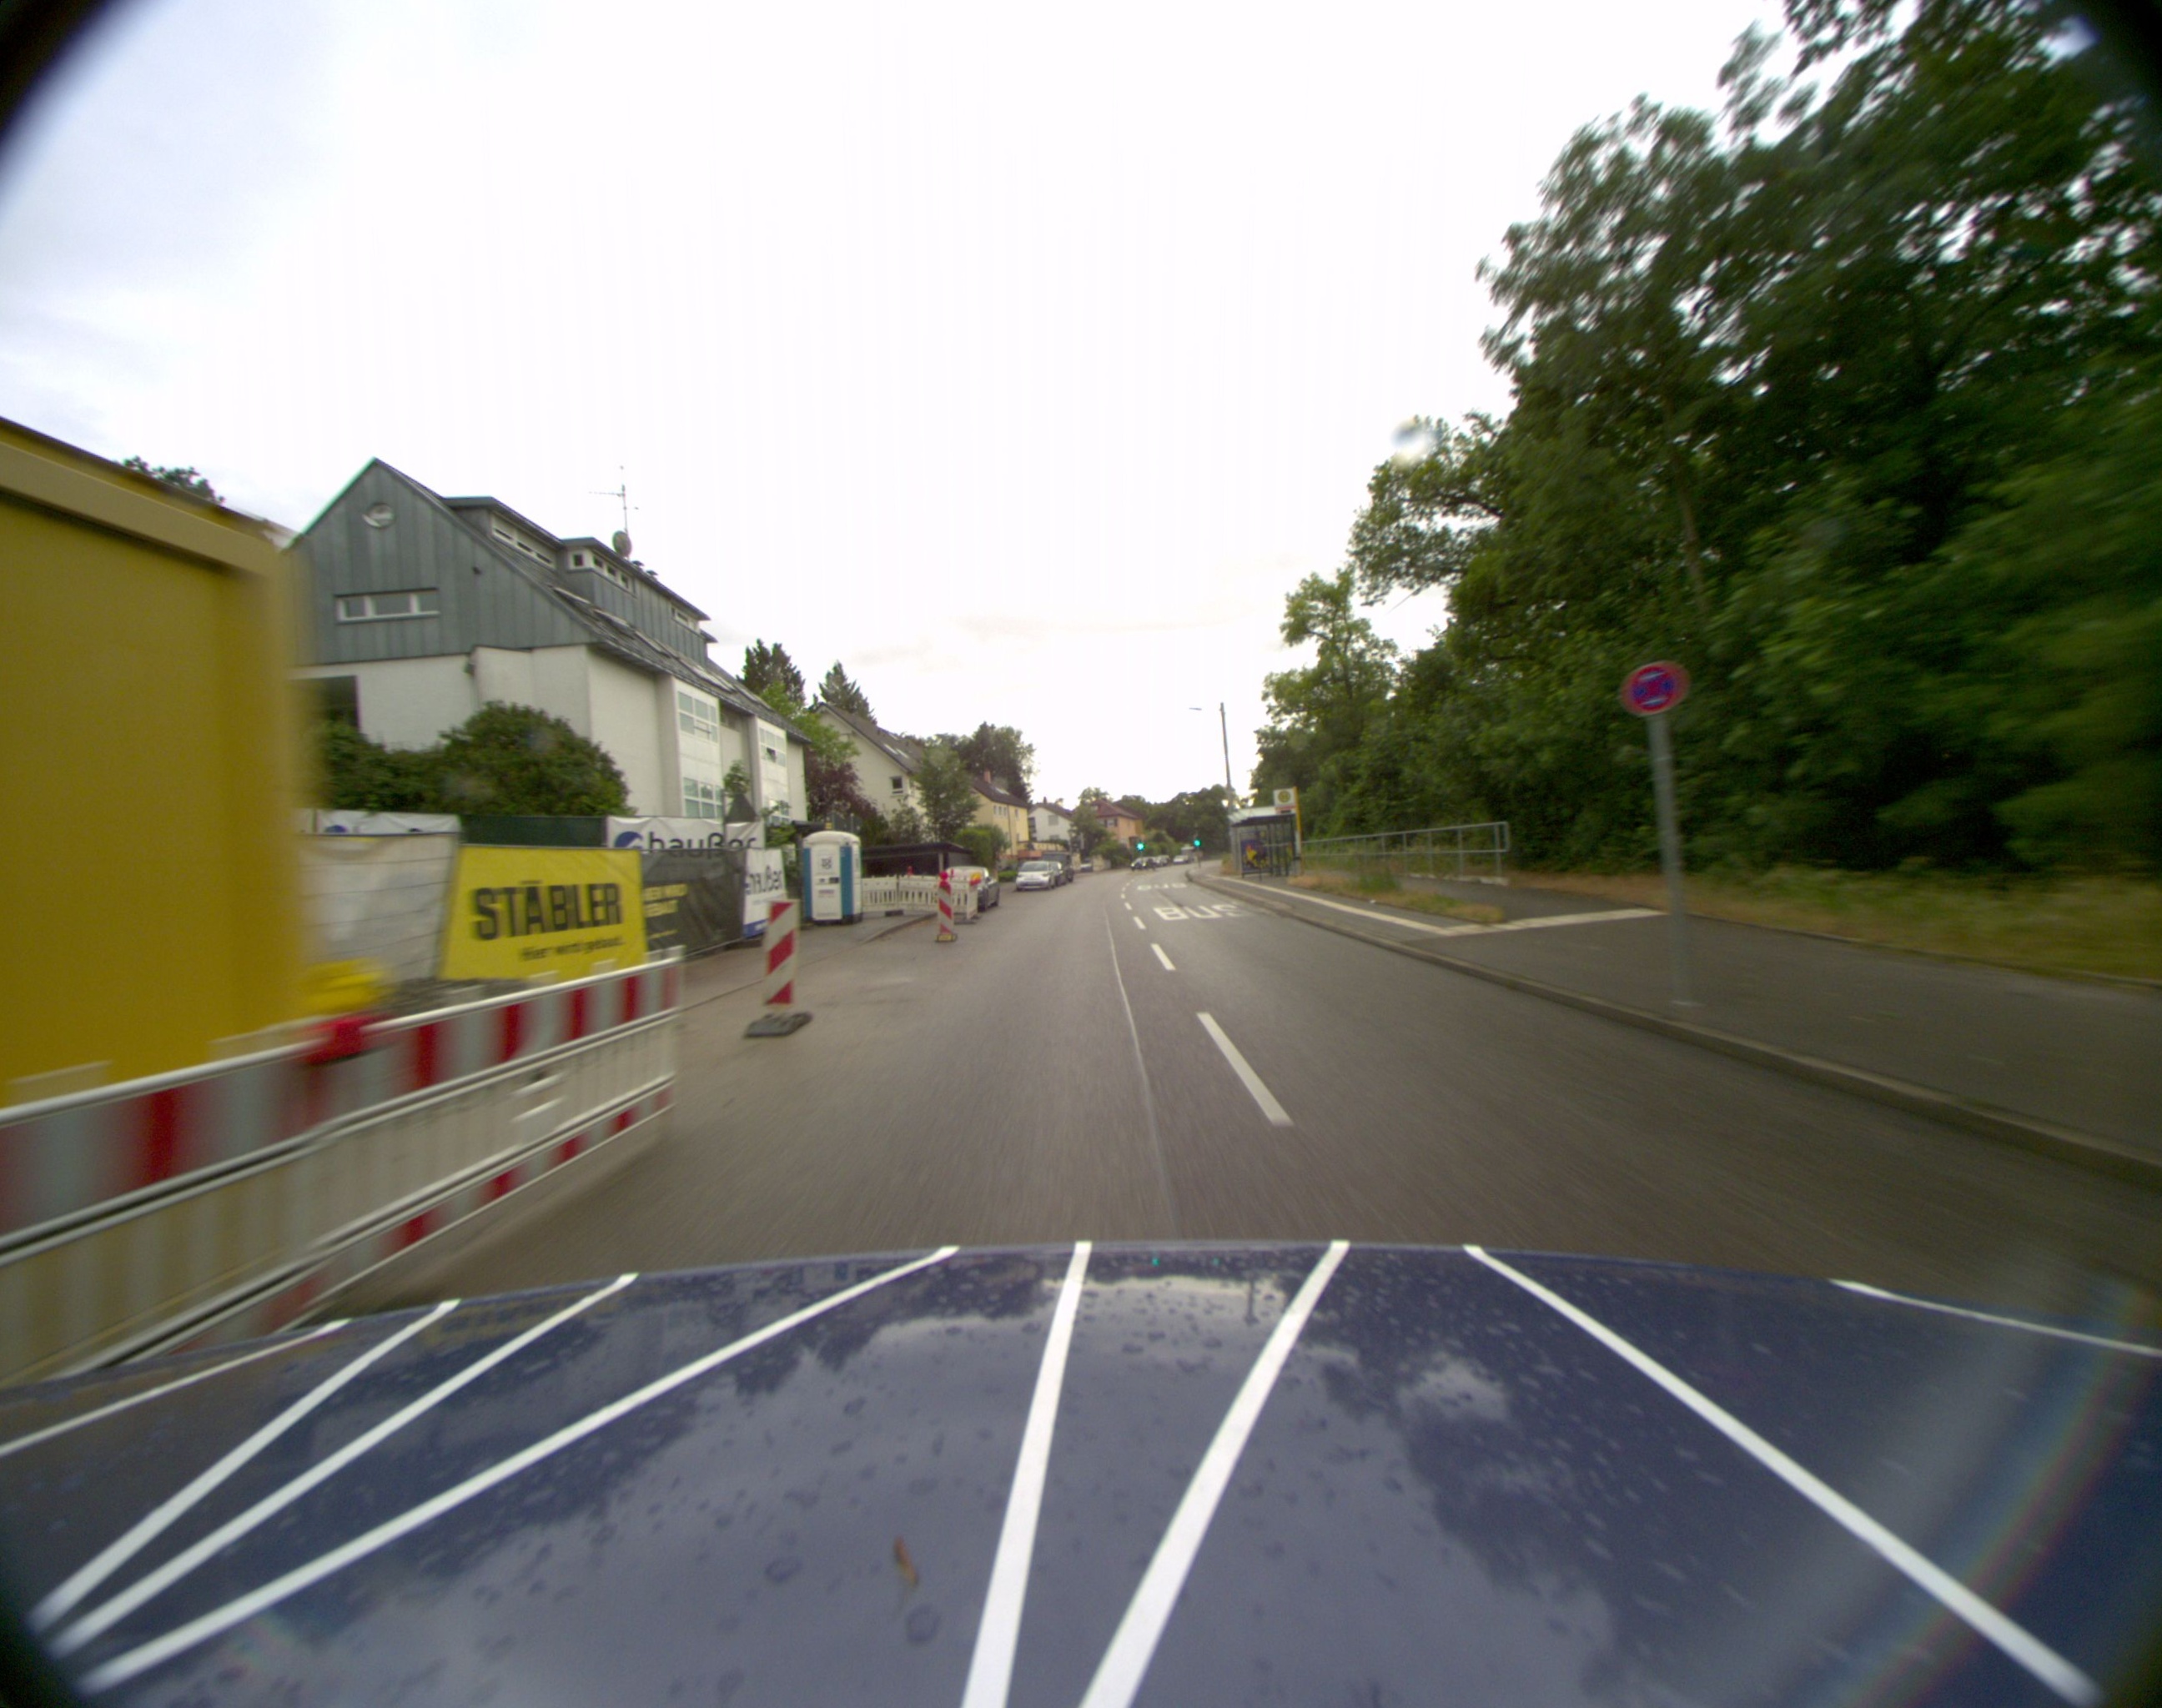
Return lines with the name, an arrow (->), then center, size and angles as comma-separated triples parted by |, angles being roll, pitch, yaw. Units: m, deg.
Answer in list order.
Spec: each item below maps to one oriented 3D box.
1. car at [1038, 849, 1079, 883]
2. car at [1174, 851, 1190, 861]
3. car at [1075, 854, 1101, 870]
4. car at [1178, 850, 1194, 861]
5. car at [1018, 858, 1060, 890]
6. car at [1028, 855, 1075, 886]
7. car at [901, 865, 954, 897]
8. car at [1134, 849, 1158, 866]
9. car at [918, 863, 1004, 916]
car -> -1.392, 0.735, 49.039 | 1.998, 2.002, 4.958 | -2, 0, 5
car -> 16.526, 0.369, 124.484 | 1.815, 1.390, 4.107 | -4, 1, 17
car -> 0.898, 0.947, 93.601 | 1.935, 1.586, 4.346 | -5, 0, 16
car -> 17.867, 0.291, 128.945 | 1.832, 1.538, 4.635 | -4, 1, 18
car -> -2.127, 1.005, 39.380 | 1.676, 1.449, 3.387 | -3, 0, 5
car -> -1.664, 0.915, 43.969 | 1.935, 1.587, 4.397 | -1, 1, 8
car -> -8.114, 1.391, 40.549 | 1.738, 1.388, 4.001 | -5, 0, 3
car -> 7.168, 0.373, 83.738 | 1.997, 1.714, 4.003 | -3, 0, 12
car -> -3.786, 1.079, 24.867 | 1.937, 1.414, 4.837 | -2, 0, 1
